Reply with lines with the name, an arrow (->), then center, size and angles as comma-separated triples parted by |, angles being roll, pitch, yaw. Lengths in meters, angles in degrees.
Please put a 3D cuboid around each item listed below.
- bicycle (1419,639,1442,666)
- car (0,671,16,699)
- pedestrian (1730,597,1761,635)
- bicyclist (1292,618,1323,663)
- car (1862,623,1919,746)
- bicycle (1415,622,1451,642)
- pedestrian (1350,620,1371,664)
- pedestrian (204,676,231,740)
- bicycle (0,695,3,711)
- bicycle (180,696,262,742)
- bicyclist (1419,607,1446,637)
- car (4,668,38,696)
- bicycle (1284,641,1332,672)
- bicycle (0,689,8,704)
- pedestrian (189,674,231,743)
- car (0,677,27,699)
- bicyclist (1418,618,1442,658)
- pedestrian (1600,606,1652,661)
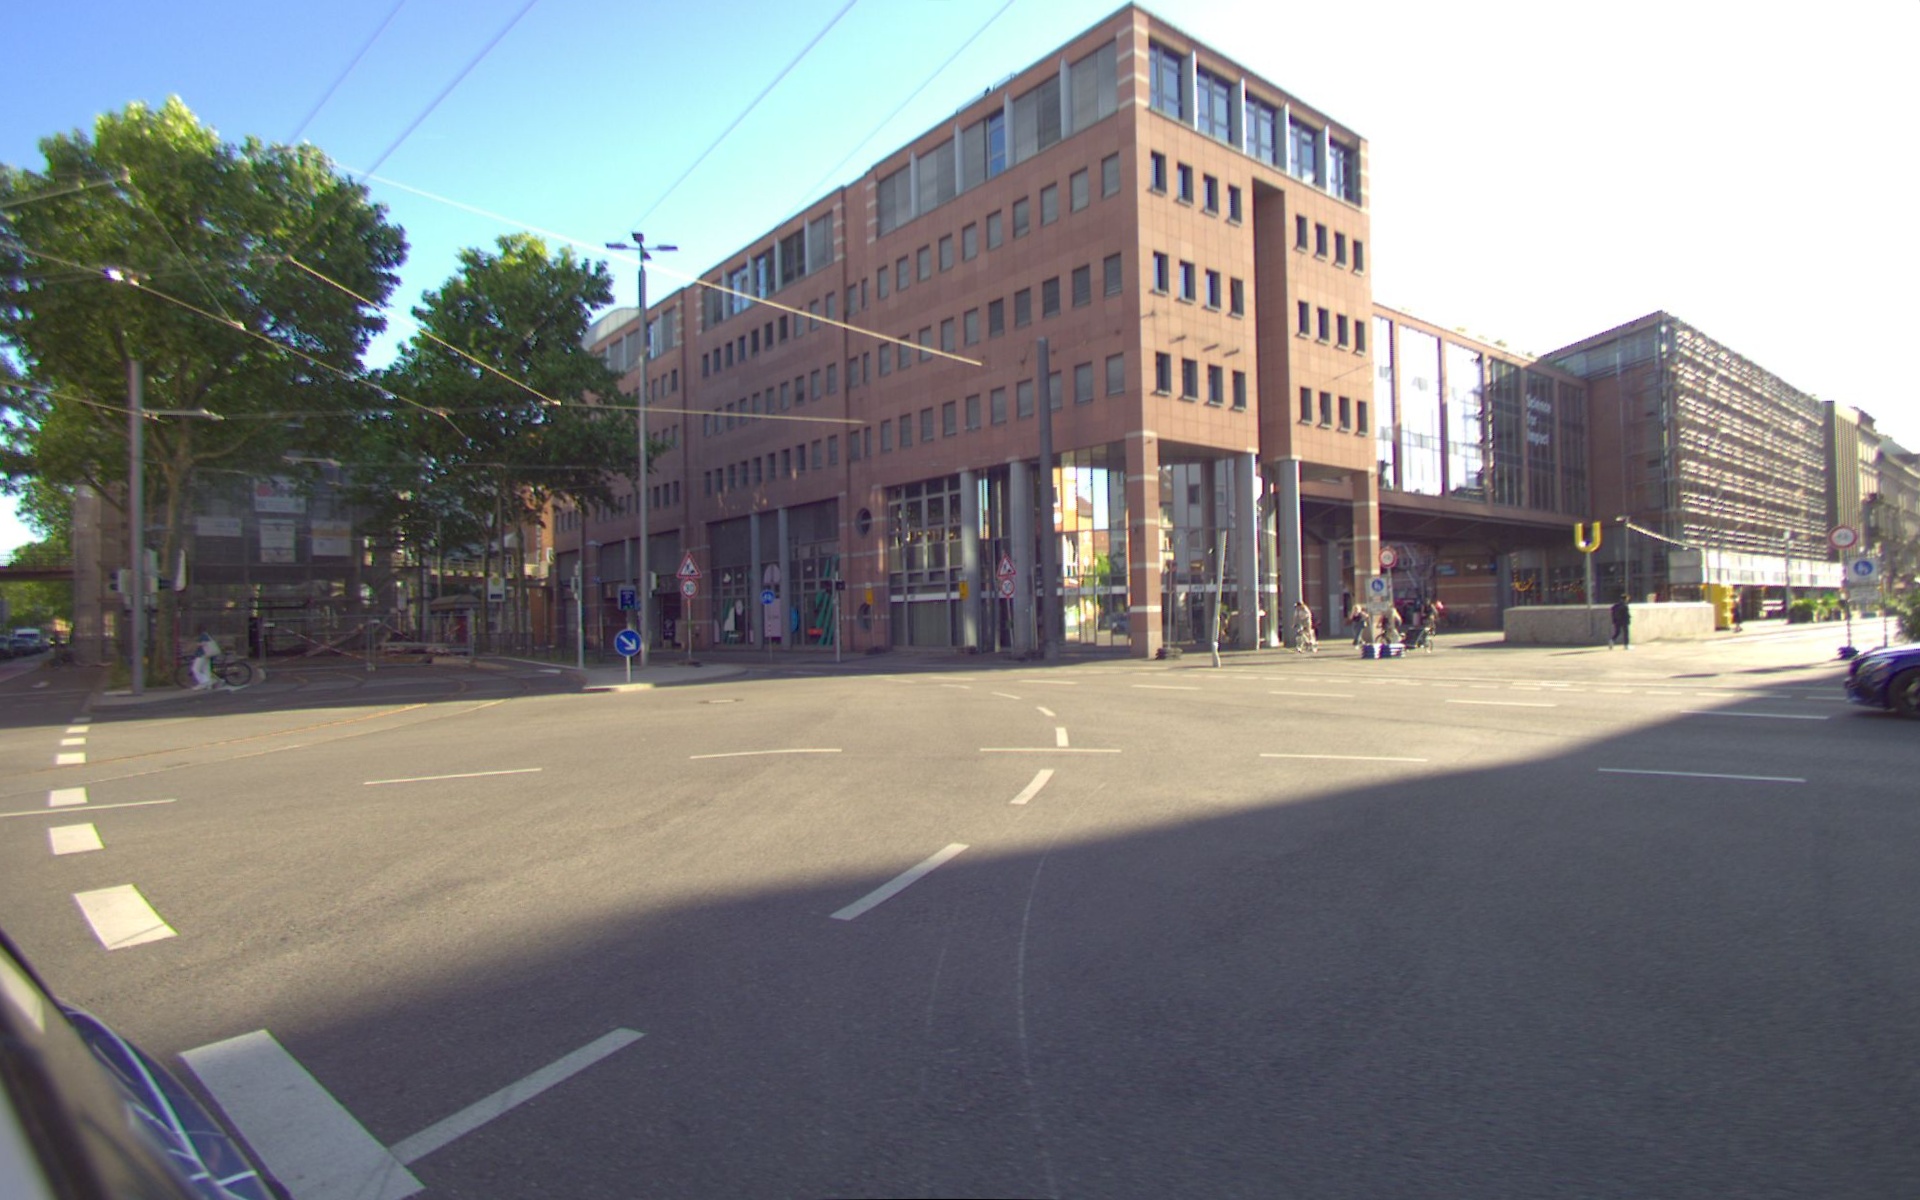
bicycle -> 16.322, 1.821, 35.069 | 0.614, 0.814, 2.000 | -4, -2, 27
car -> -73.422, 6.502, 77.093 | 1.895, 2.094, 5.178 | -2, -2, -40
pedestrian -> 35.570, 0.715, 45.836 | 0.742, 1.678, 0.698 | -3, -2, -1
bicyclist -> 11.809, 1.371, 34.369 | 0.737, 1.496, 0.584 | -2, -3, -40
car -> 13.184, 0.910, 11.188 | 1.811, 1.396, 4.600 | -1, -2, -43
bicycle -> 22.414, 1.520, 47.924 | 1.988, 0.814, 0.780 | -2, -2, -42
pedestrian -> 14.715, 1.538, 37.149 | 0.561, 1.548, 0.484 | -4, -2, 33
pedestrian -> -20.259, 2.936, 27.616 | 0.559, 1.692, 0.532 | -1, -3, -39
bicycle -> -66.782, 7.123, 69.402 | 1.657, 1.075, 0.501 | -3, -1, -6
bicycle -> -20.476, 3.274, 28.072 | 1.806, 1.087, 0.481 | -1, -3, -39
bicyclist -> 22.381, 1.060, 47.925 | 1.006, 1.350, 0.780 | -2, -3, -42
car -> -92.075, 8.021, 99.282 | 2.088, 2.584, 5.914 | -2, -2, -40
bicycle -> 11.829, 1.909, 34.336 | 1.934, 0.919, 0.584 | -1, -2, -40
bicycle -> -68.170, 6.850, 71.163 | 1.654, 1.075, 0.513 | -3, -1, -17
pedestrian -> -19.936, 2.861, 26.893 | 0.768, 1.747, 0.849 | -1, -3, -43
car -> -81.247, 7.536, 86.656 | 1.765, 1.683, 4.447 | -2, -2, -40
bicyclist -> 16.295, 1.322, 35.080 | 0.614, 1.322, 0.948 | -4, -2, 27
pedestrian -> 21.105, 1.054, 32.088 | 0.894, 1.678, 0.885 | -3, -2, -5
